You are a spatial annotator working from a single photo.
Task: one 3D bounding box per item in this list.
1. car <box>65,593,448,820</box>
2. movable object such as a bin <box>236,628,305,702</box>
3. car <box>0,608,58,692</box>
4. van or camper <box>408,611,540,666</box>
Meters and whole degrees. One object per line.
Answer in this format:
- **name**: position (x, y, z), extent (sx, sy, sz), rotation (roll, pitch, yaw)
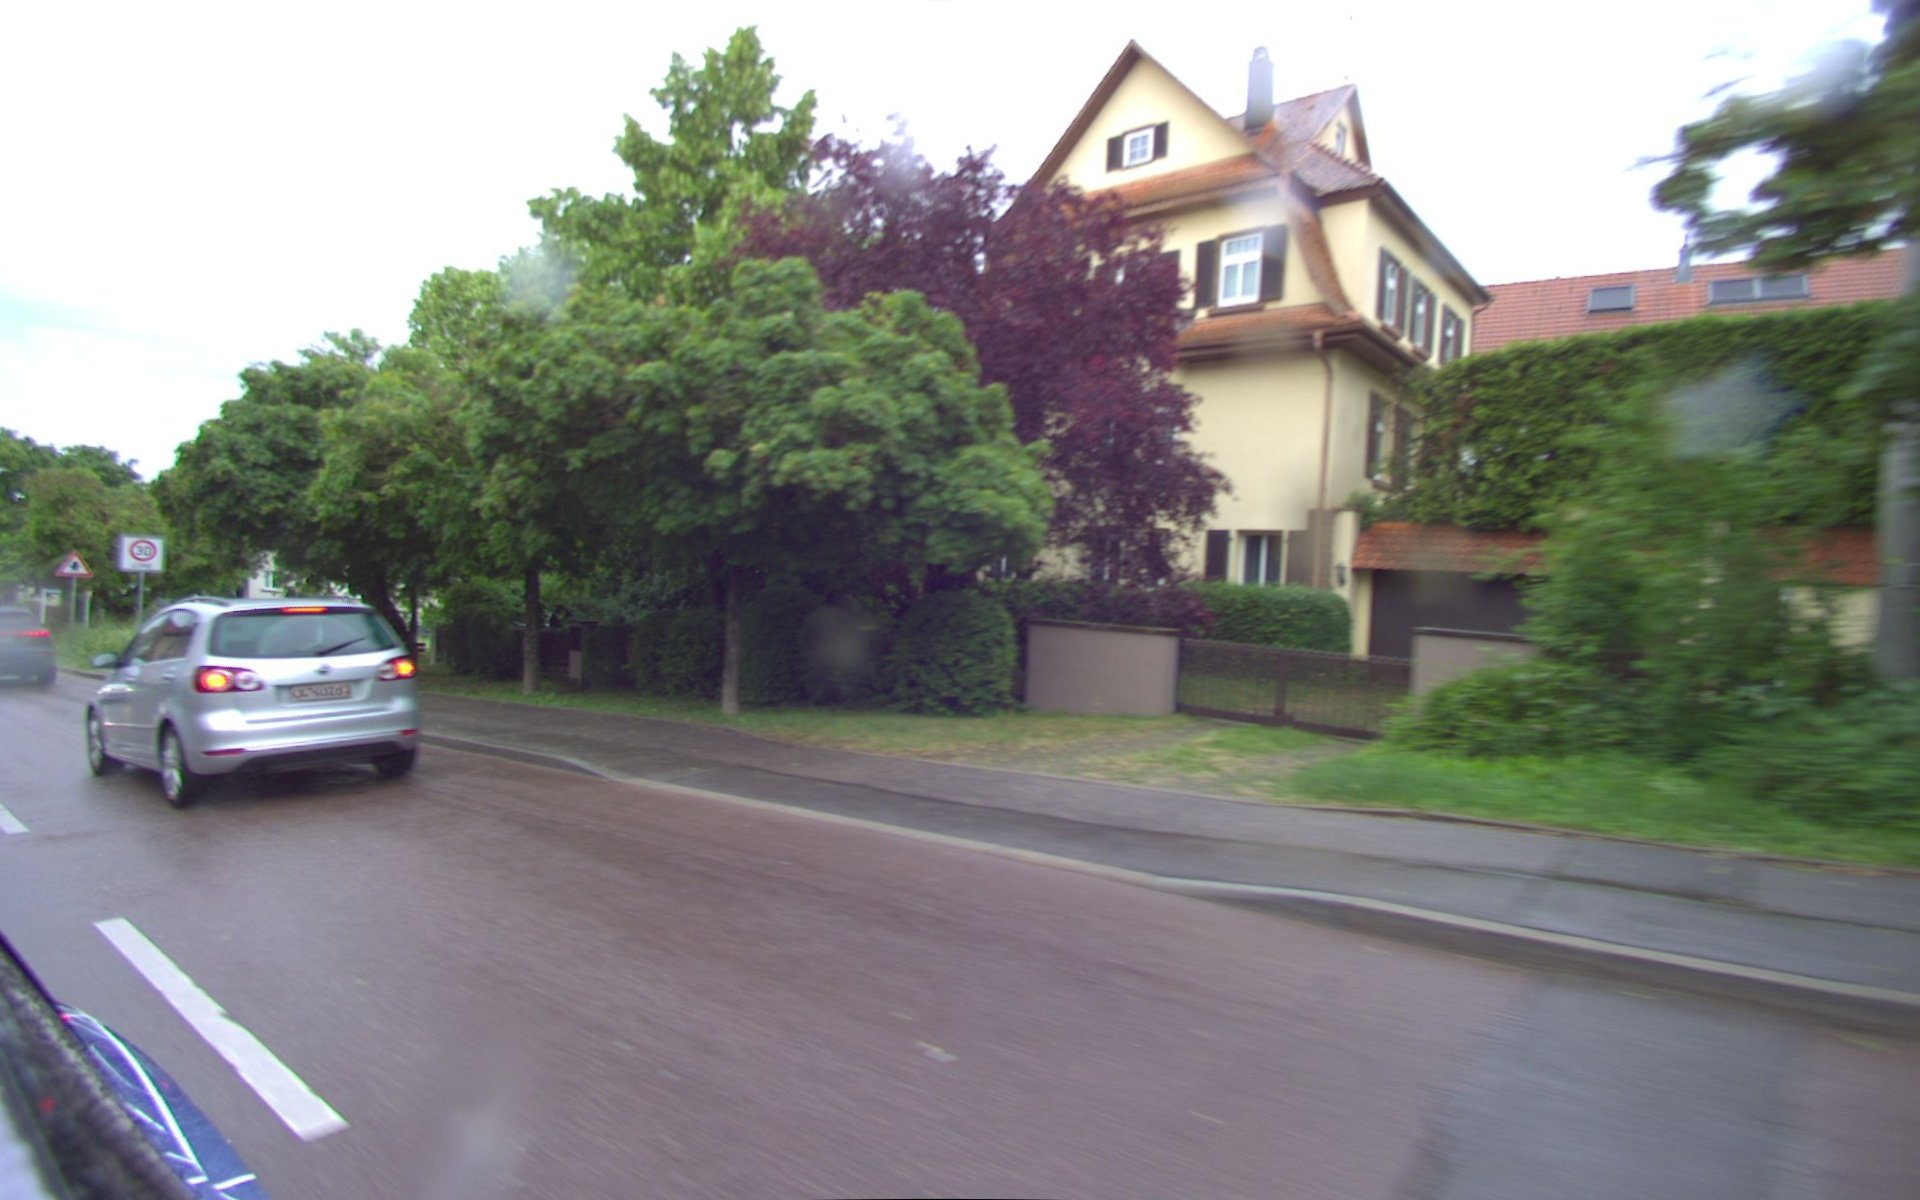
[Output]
- **car**: position (-6.290, 0.760, 8.909), extent (3.825, 1.565, 1.787), rotation (-1, -1, 39)
- **movable object such as a bin**: position (-10.905, 1.006, 15.995), extent (0.757, 1.108, 0.713), rotation (-1, 0, 40)
- **car**: position (-20.538, 1.006, 21.137), extent (4.359, 1.636, 1.899), rotation (-1, -1, 39)
- **van or camper**: position (-23.909, 1.898, 49.804), extent (5.997, 2.576, 1.636), rotation (-1, 1, 10)
